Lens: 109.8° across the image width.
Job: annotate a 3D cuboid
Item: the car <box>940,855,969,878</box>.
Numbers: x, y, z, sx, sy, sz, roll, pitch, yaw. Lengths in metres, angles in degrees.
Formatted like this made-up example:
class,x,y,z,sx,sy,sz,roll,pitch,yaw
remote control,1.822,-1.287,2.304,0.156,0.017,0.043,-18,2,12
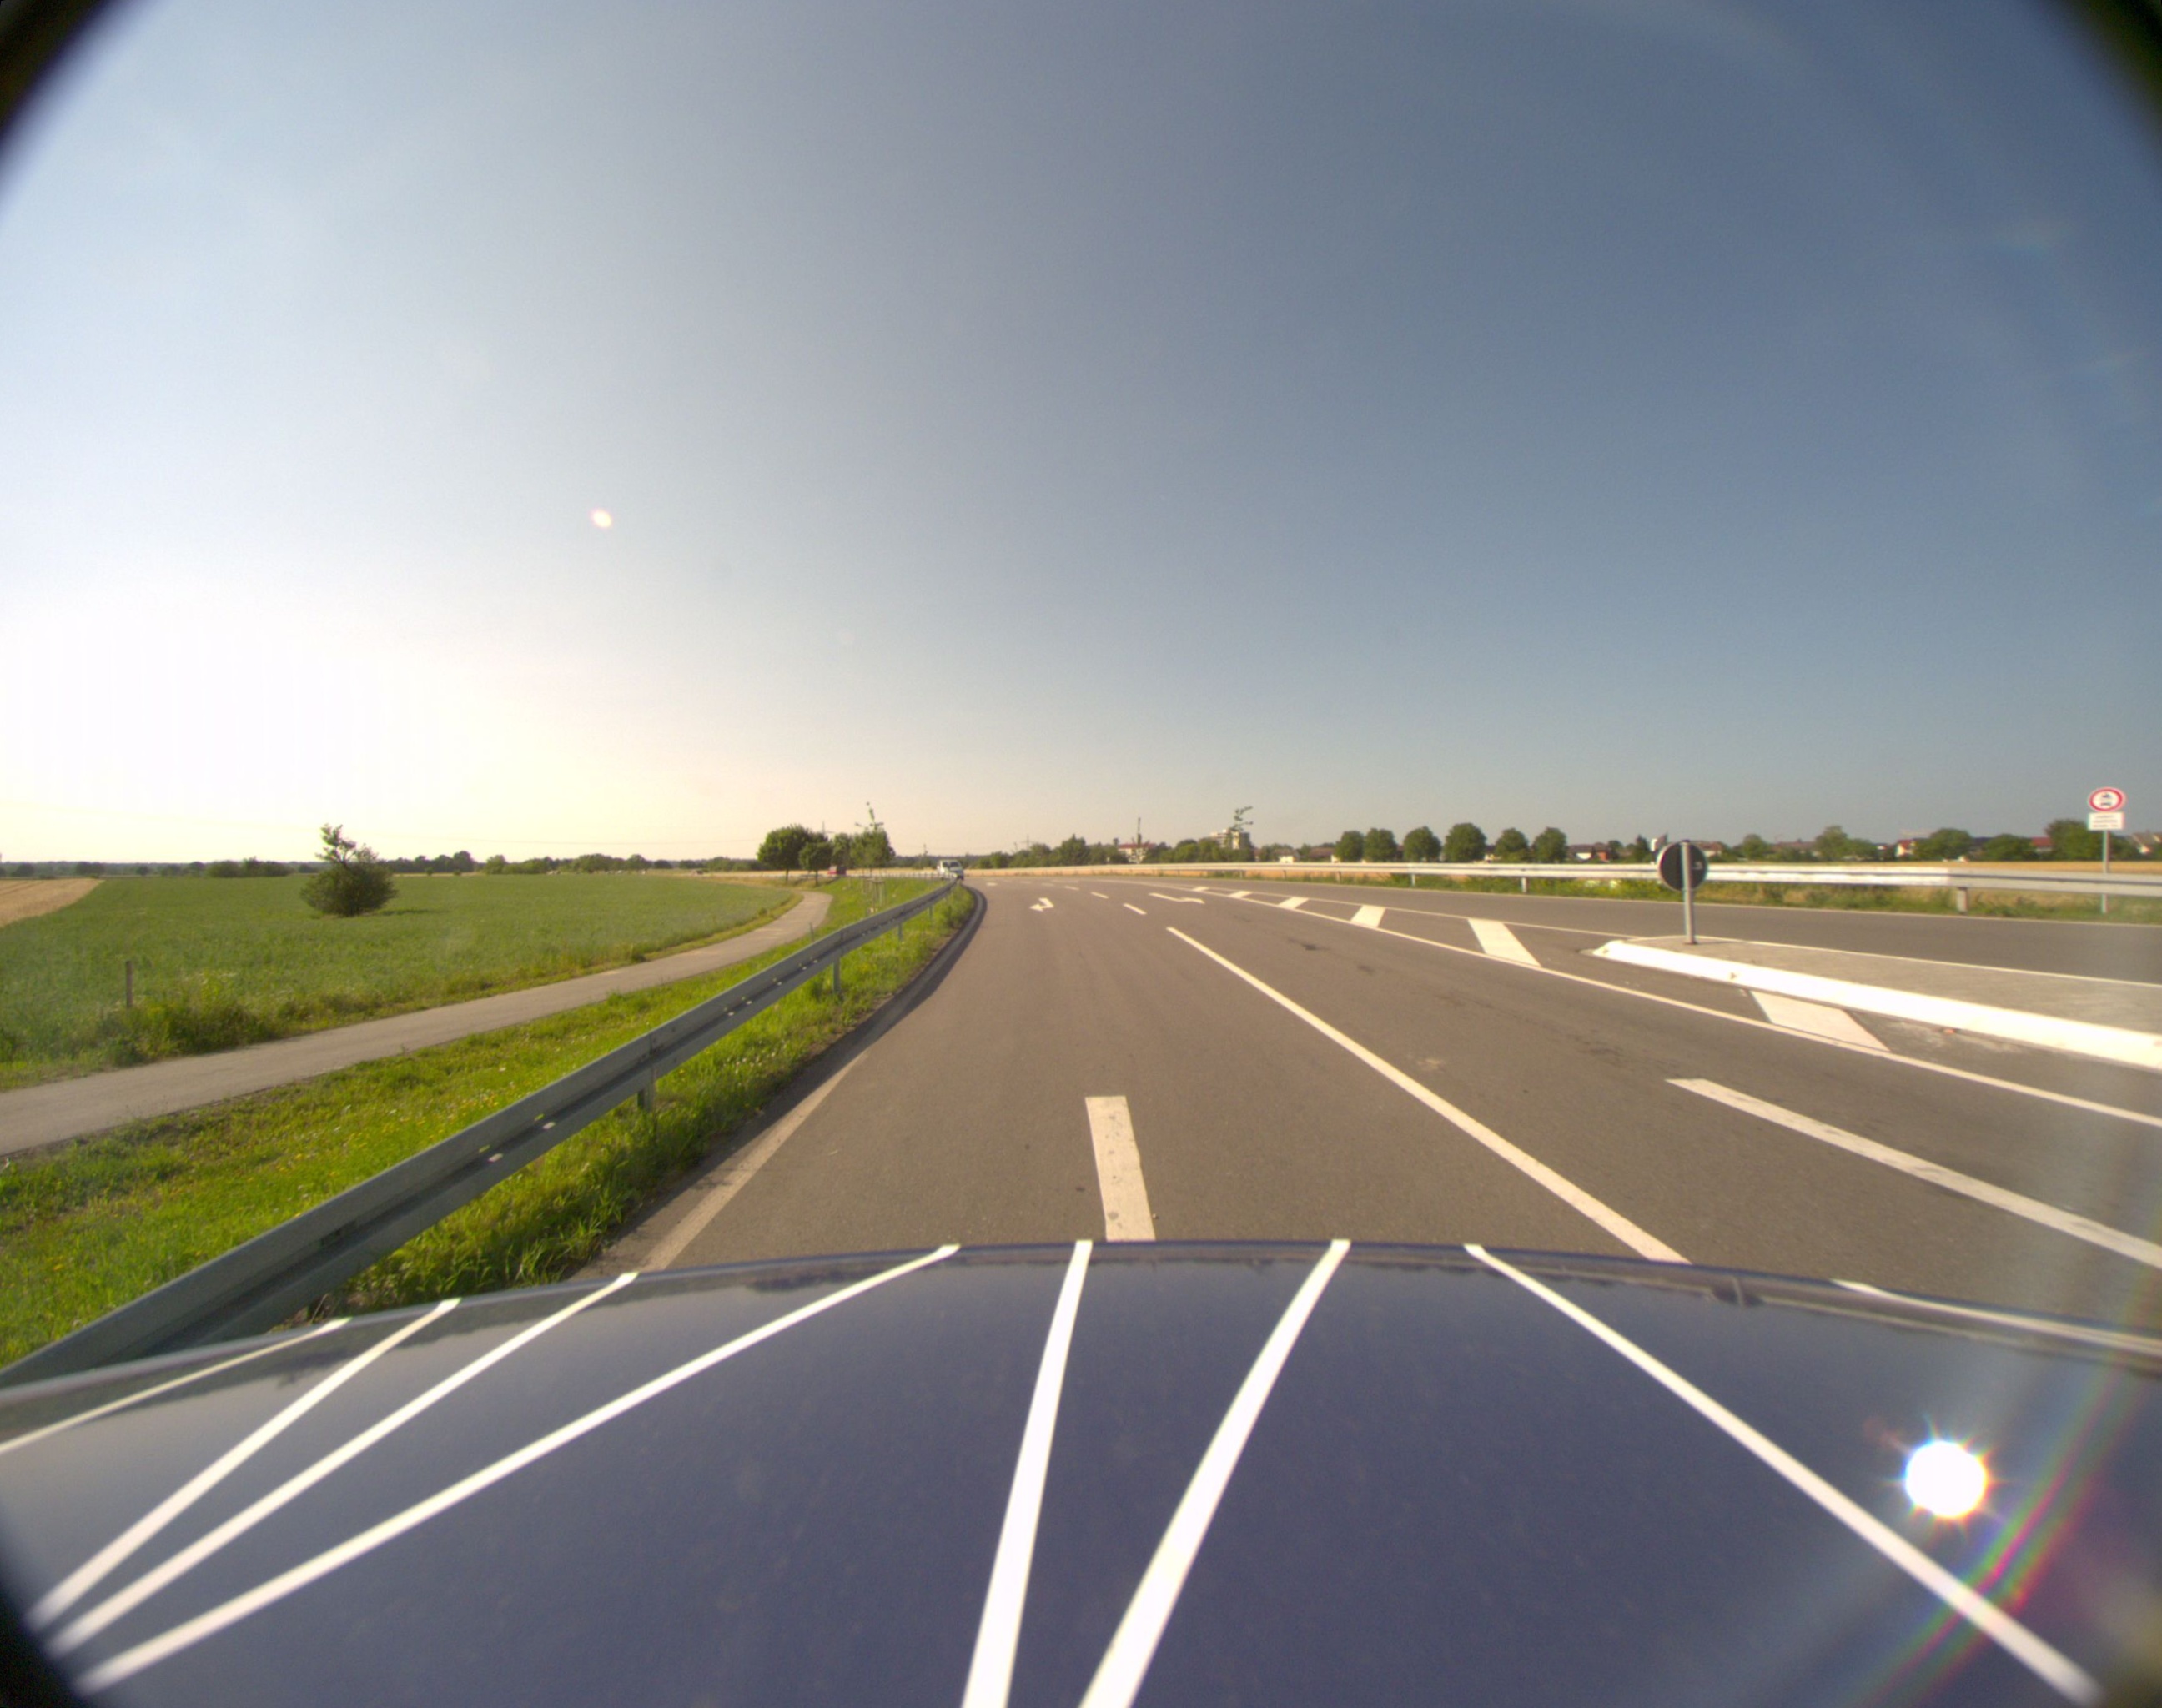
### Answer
class,x,y,z,sx,sy,sz,roll,pitch,yaw
car,-9.936,0.949,59.540,1.757,1.685,4.209,-3,1,-16

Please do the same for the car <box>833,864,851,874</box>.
class,x,y,z,sx,sy,sz,roll,pitch,yaw
car,-41.088,2.514,130.662,1.818,1.663,3.990,-3,1,-33
